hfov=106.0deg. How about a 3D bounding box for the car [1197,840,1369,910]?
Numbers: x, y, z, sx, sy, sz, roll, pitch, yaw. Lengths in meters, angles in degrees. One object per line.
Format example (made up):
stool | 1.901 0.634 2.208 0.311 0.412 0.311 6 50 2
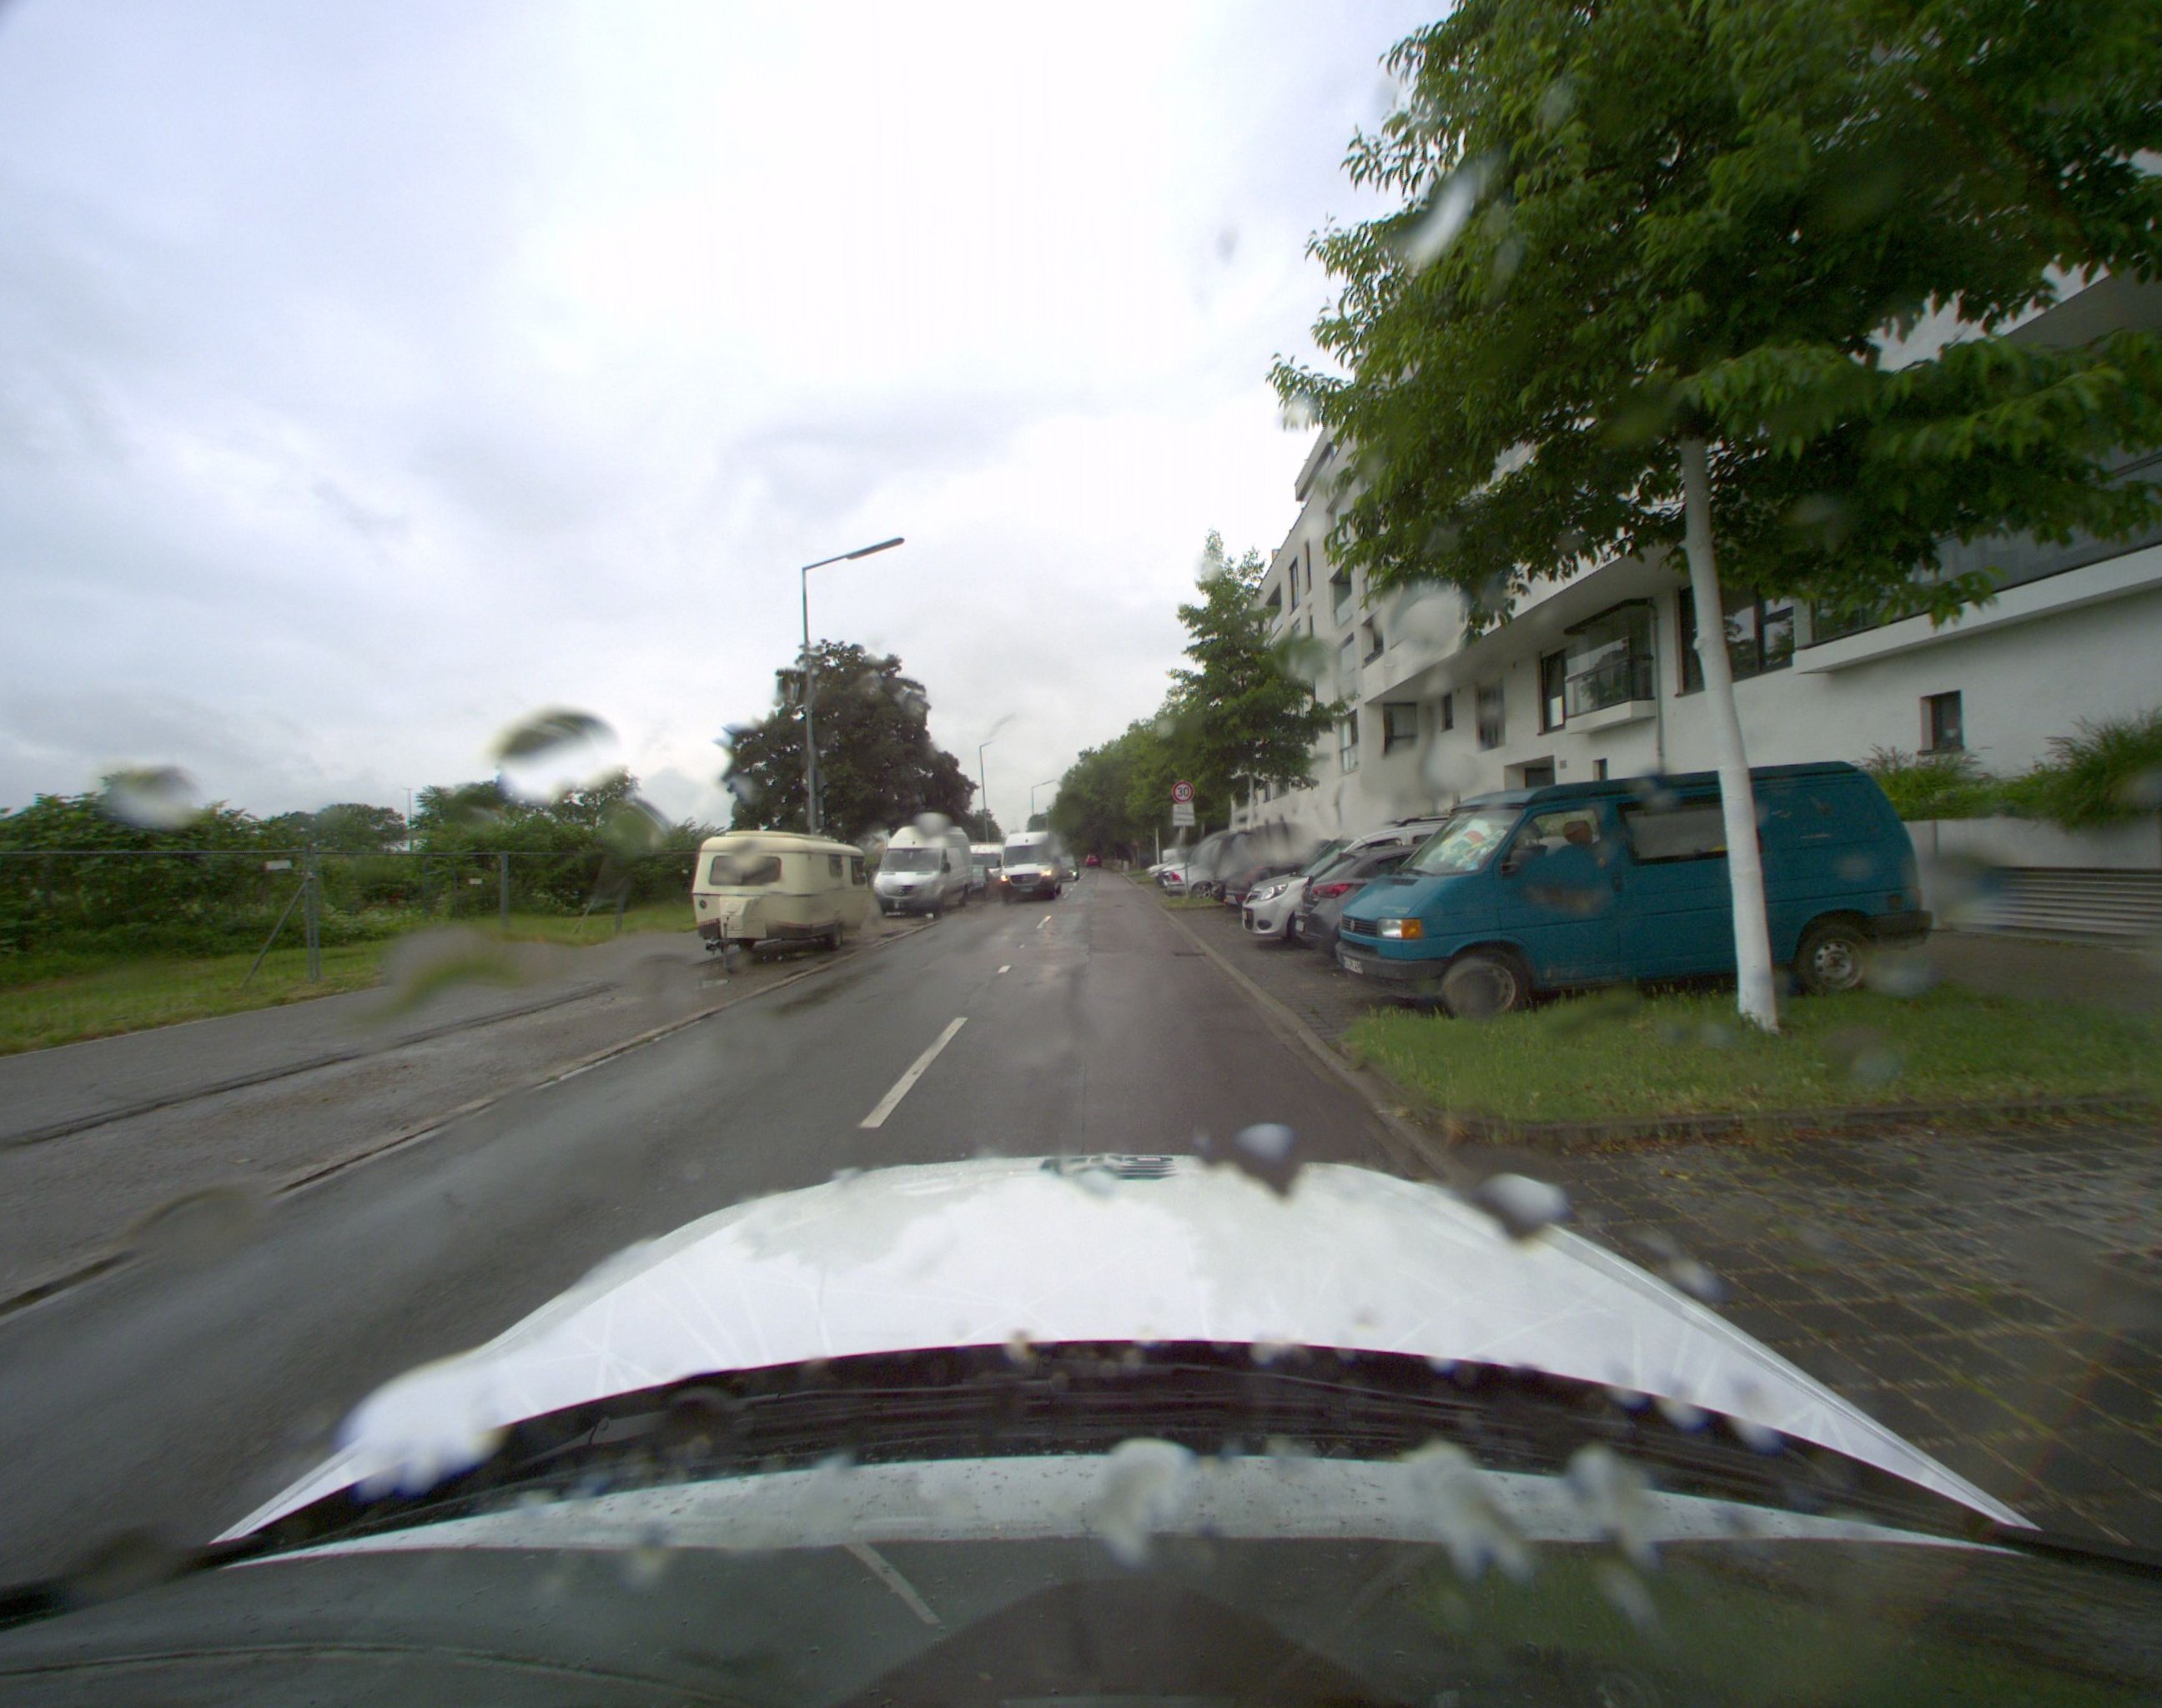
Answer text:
car | 5.123 0.521 20.974 3.875 1.600 1.861 -2 -1 -4

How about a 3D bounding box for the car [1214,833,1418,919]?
car | 5.049 0.445 17.829 3.875 1.681 1.861 -1 0 -4

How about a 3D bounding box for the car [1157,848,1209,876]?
car | 8.543 0.683 68.075 3.952 2.293 1.786 -1 -1 21

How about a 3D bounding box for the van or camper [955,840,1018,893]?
van or camper | -4.633 0.600 41.010 2.181 2.462 6.379 -1 -1 2

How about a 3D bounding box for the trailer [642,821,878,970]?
trailer | -5.508 0.630 15.045 2.052 2.218 5.793 0 0 0

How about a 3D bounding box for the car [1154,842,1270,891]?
car | 5.217 0.504 32.927 4.373 1.776 2.005 -2 -1 0

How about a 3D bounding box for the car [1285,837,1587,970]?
car | 4.387 0.588 10.332 3.244 1.482 1.317 -2 0 -1

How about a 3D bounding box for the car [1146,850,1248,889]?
car | 5.269 0.705 37.430 4.373 1.633 2.005 -2 -1 0

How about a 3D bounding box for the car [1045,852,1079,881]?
car | -1.180 0.823 53.226 1.874 1.757 4.070 -2 0 3

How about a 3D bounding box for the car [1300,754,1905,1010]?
car | 4.682 0.233 7.829 4.604 2.019 1.857 -2 -1 -1

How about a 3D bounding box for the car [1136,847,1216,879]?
car | 5.229 0.494 45.274 4.086 1.575 1.864 -2 -1 -6

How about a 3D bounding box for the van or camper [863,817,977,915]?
van or camper | -5.083 0.371 27.154 1.986 2.762 7.901 0 -1 2

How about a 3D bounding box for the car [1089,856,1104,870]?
car | 2.085 1.136 106.416 1.748 1.706 4.004 -2 -1 3

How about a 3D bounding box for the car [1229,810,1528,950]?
car | 4.564 0.394 12.961 4.078 1.894 1.727 -3 0 2

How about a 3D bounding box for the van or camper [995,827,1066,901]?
van or camper | -1.830 0.369 32.245 1.986 2.497 7.182 -3 0 2
